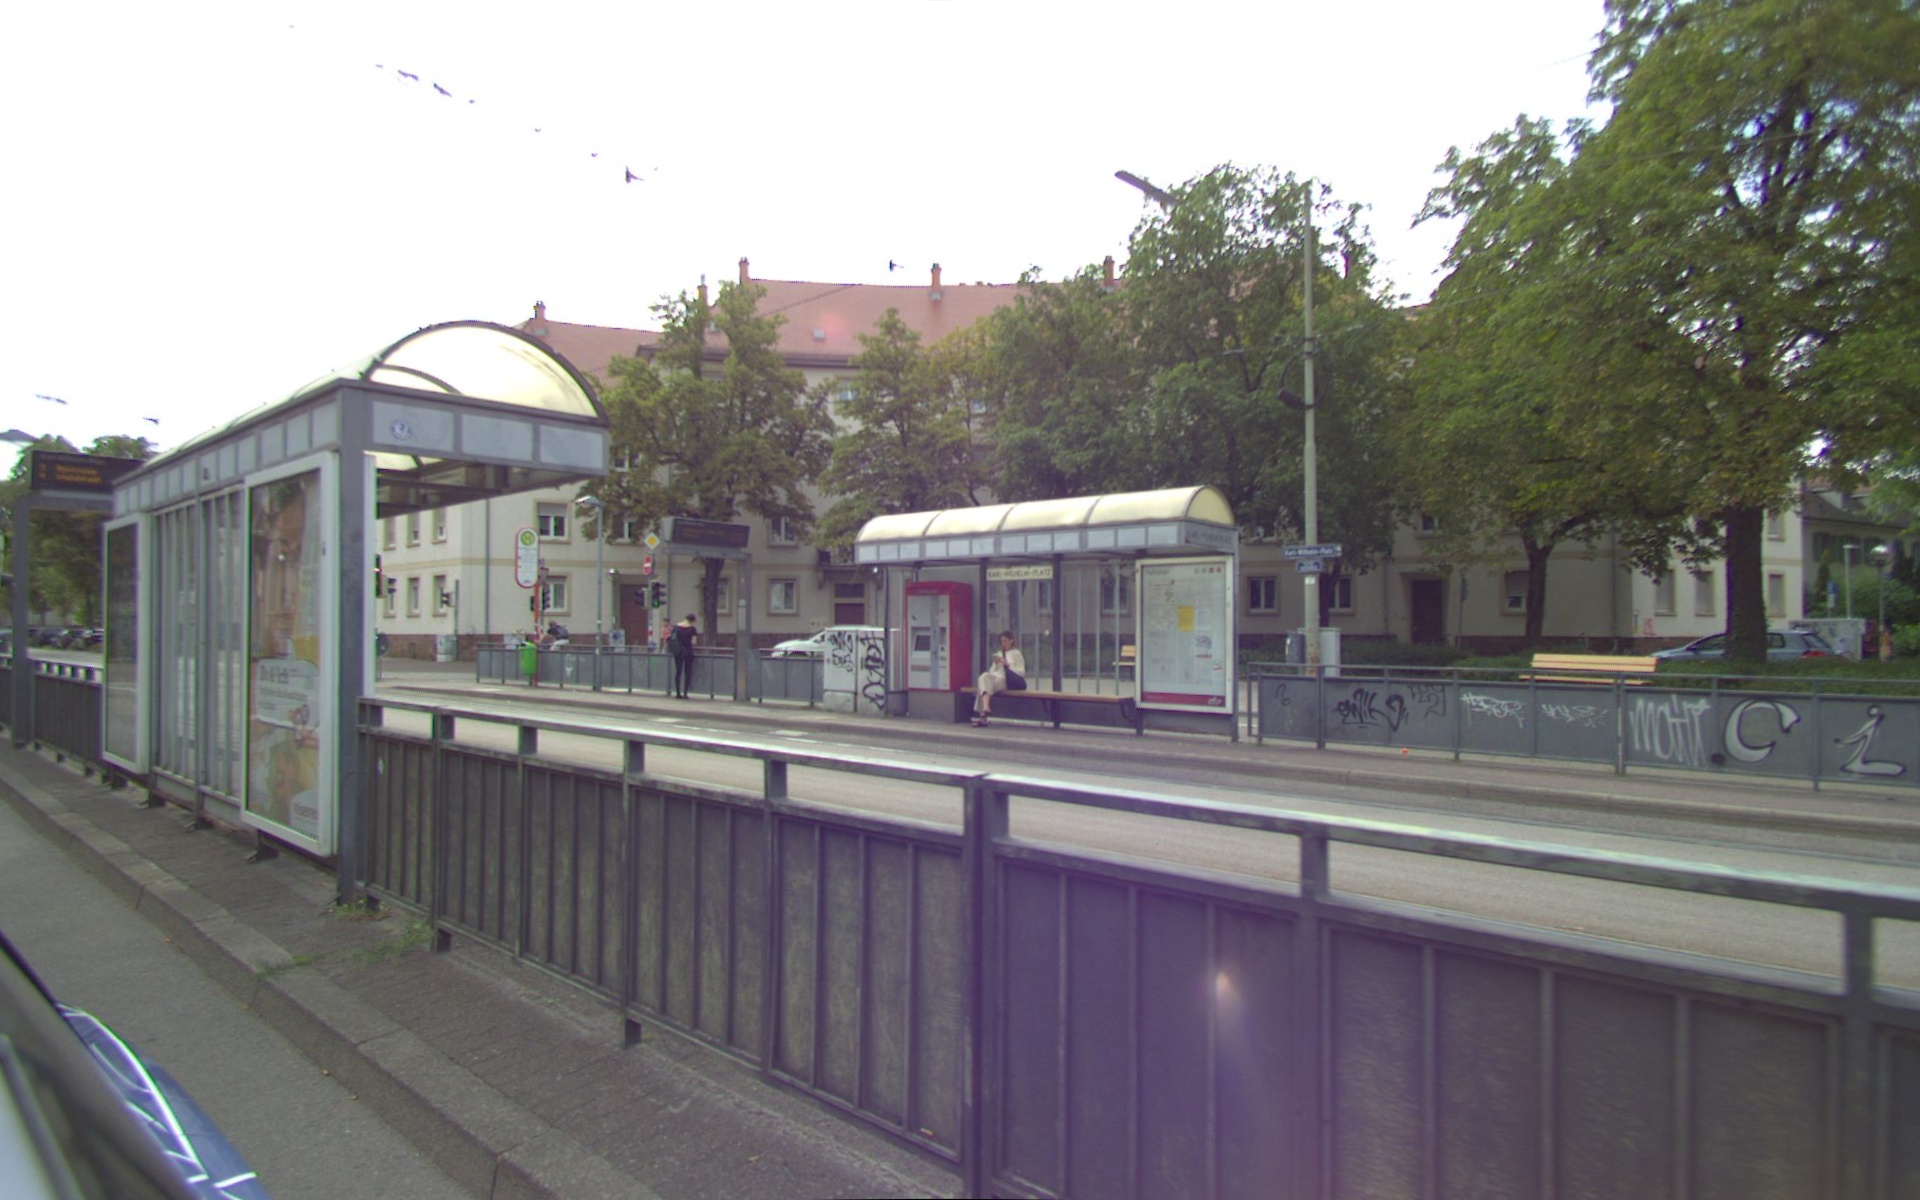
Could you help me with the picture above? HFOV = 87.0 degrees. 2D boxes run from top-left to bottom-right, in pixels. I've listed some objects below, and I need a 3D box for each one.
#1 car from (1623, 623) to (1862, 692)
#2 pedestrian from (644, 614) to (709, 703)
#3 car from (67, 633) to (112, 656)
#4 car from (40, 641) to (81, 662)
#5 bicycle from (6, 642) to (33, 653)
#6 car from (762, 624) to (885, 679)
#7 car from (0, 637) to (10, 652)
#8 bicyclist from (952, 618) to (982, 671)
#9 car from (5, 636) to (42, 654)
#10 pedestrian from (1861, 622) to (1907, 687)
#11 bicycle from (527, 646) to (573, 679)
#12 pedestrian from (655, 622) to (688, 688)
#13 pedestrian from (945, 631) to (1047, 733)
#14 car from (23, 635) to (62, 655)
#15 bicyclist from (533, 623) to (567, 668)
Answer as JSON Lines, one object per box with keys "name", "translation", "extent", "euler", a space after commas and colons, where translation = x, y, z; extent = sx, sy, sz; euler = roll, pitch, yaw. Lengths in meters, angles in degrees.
{"name": "car", "translation": [19.771, 1.399, 25.736], "extent": [2.176, 1.590, 4.357], "euler": [1, -2, -37]}
{"name": "pedestrian", "translation": [-5.340, 1.091, 19.089], "extent": [0.841, 1.633, 0.844], "euler": [-1, -2, 36]}
{"name": "car", "translation": [-59.169, 2.987, 68.757], "extent": [4.297, 1.434, 1.679], "euler": [-2, 0, 41]}
{"name": "car", "translation": [-65.522, 3.702, 73.695], "extent": [4.297, 1.434, 1.679], "euler": [-2, -1, 41]}
{"name": "bicycle", "translation": [-84.394, 4.228, 90.812], "extent": [0.671, 0.978, 1.654], "euler": [-2, -3, 32]}
{"name": "car", "translation": [-4.771, 1.782, 35.334], "extent": [4.092, 1.734, 1.844], "euler": [2, -1, -9]}
{"name": "car", "translation": [-95.619, 4.403, 100.193], "extent": [4.295, 1.482, 1.680], "euler": [-2, -2, 39]}
{"name": "bicyclist", "translation": [0.248, 1.520, 34.397], "extent": [0.902, 1.789, 0.610], "euler": [-1, -2, 13]}
{"name": "car", "translation": [-81.011, 3.862, 87.511], "extent": [4.295, 1.482, 1.680], "euler": [-2, -3, 39]}
{"name": "pedestrian", "translation": [25.848, 1.520, 28.310], "extent": [0.740, 1.767, 0.735], "euler": [1, -3, -31]}
{"name": "bicycle", "translation": [-12.526, 1.890, 30.890], "extent": [1.549, 0.956, 0.654], "euler": [-2, -3, 41]}
{"name": "pedestrian", "translation": [-8.624, 1.632, 30.249], "extent": [0.720, 1.915, 0.838], "euler": [1, -3, -31]}
{"name": "pedestrian", "translation": [0.495, 1.077, 13.751], "extent": [0.984, 1.303, 1.049], "euler": [-1, -2, 36]}
{"name": "car", "translation": [-73.834, 3.604, 81.410], "extent": [4.297, 1.624, 1.767], "euler": [-2, -3, 41]}
{"name": "bicyclist", "translation": [-12.525, 1.382, 30.912], "extent": [0.835, 1.350, 0.654], "euler": [-2, -3, 41]}
